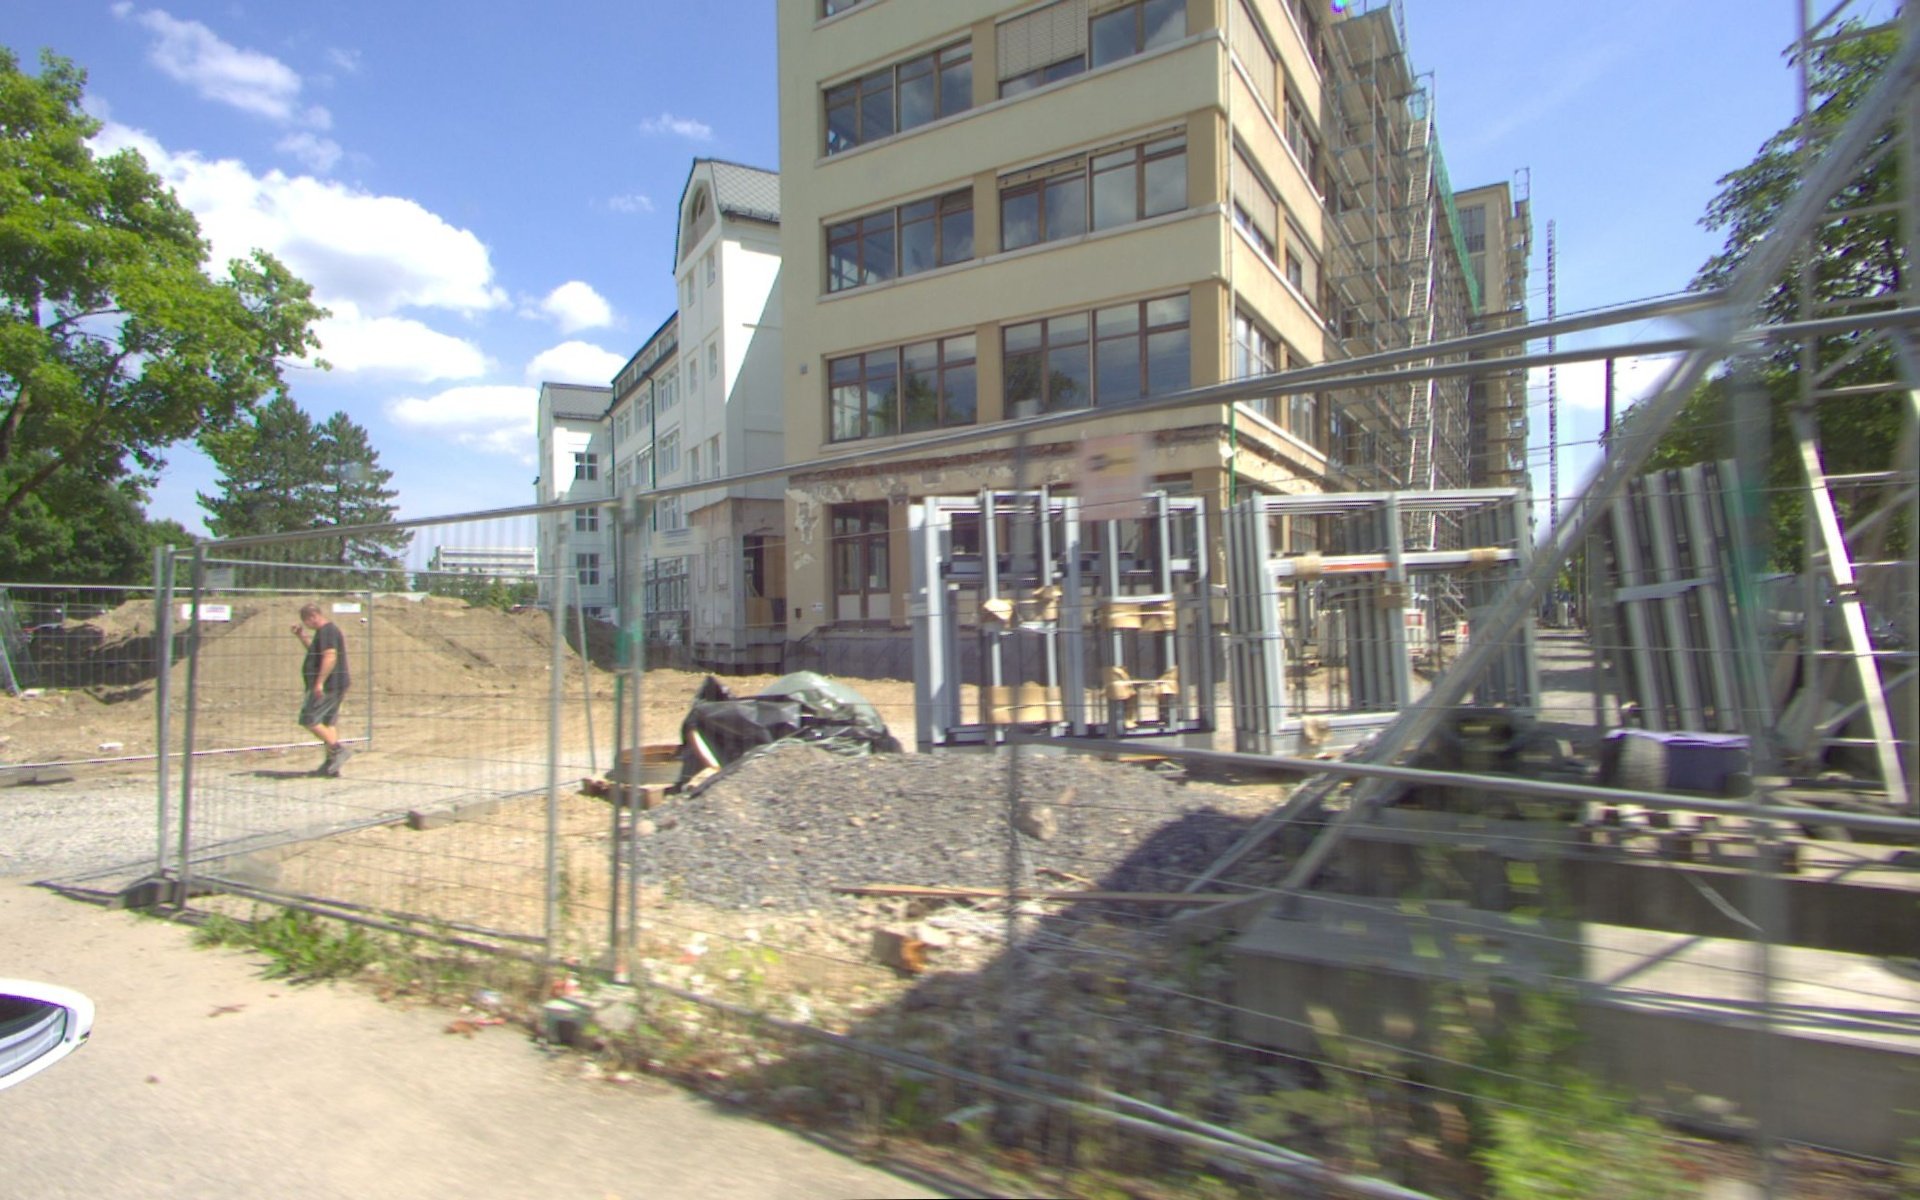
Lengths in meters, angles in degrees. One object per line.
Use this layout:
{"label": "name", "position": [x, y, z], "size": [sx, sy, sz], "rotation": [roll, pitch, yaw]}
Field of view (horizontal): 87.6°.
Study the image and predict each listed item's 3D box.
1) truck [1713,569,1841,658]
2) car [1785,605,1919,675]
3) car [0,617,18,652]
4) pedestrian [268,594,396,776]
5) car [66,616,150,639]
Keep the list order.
{"label": "truck", "position": [25.441, 0.416, 31.413], "size": [1.995, 2.518, 5.848], "rotation": [0, -1, 28]}
{"label": "car", "position": [22.740, 0.954, 25.423], "size": [1.969, 1.628, 3.984], "rotation": [0, 0, 28]}
{"label": "car", "position": [-47.481, 1.623, 46.983], "size": [4.456, 1.618, 1.926], "rotation": [0, -1, -31]}
{"label": "pedestrian", "position": [-6.742, 0.867, 10.755], "size": [0.860, 1.843, 0.960], "rotation": [0, 0, 41]}
{"label": "car", "position": [-62.387, 1.987, 73.447], "size": [4.457, 1.619, 1.716], "rotation": [0, 0, -32]}
